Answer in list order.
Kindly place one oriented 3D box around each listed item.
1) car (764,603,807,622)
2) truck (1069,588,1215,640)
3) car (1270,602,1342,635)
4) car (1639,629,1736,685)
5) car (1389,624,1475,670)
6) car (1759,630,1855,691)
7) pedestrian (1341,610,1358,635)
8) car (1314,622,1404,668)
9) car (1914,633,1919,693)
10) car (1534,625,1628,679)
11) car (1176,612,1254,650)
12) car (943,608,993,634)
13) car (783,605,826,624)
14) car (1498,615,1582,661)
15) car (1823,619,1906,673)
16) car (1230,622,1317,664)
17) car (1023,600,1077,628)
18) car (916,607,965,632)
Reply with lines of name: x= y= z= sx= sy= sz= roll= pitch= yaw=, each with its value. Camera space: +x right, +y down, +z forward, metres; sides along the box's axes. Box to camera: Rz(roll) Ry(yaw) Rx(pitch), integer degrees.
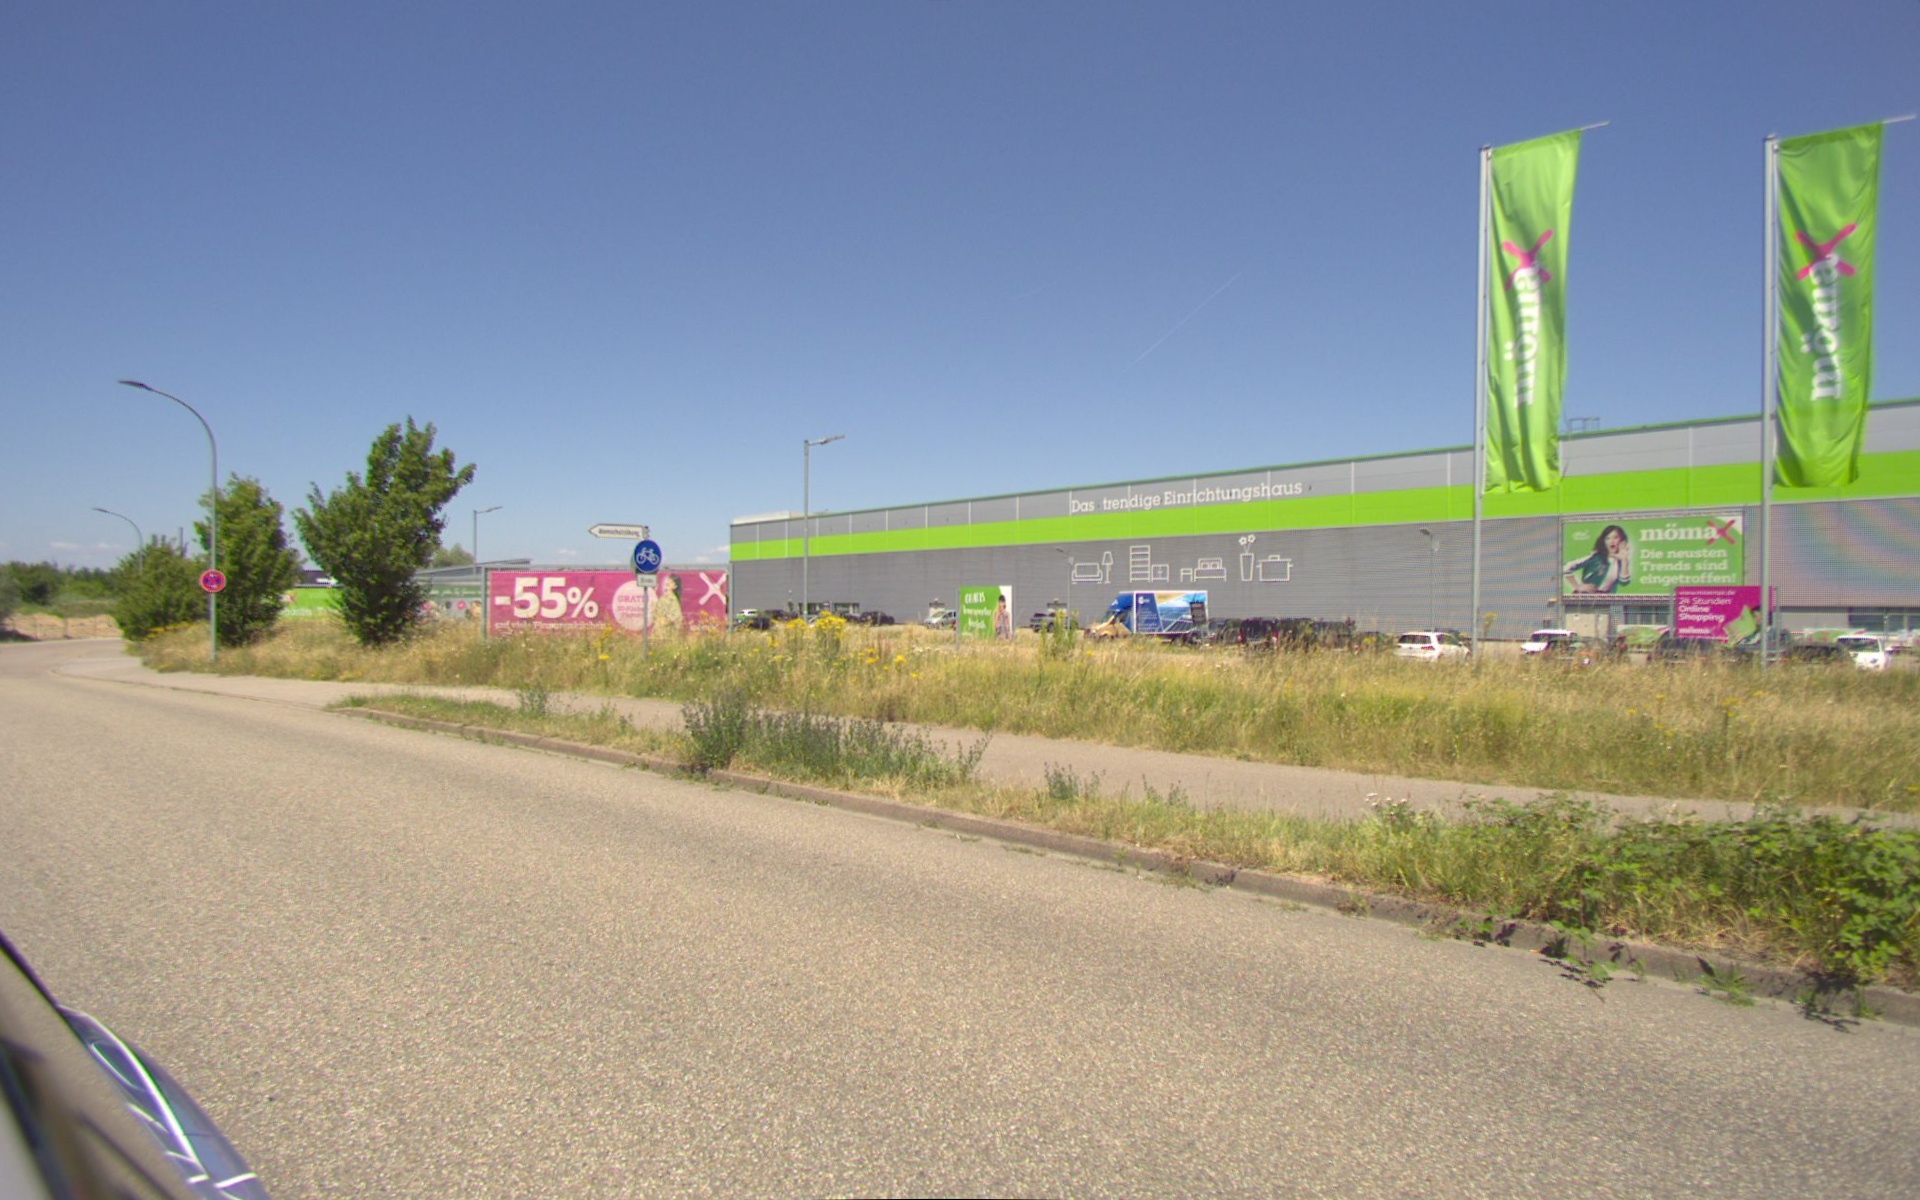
car: x=-18.072 y=1.231 z=104.865 sx=3.941 sy=1.752 sz=2.002 roll=-2 pitch=3 yaw=-44
truck: x=10.406 y=0.764 z=58.120 sx=7.650 sy=2.704 sz=2.969 roll=-1 pitch=0 yaw=-11
car: x=21.055 y=1.105 z=61.542 sx=3.931 sy=1.785 sz=2.006 roll=-2 pitch=1 yaw=-28
car: x=23.507 y=1.793 z=32.641 sx=2.001 sy=1.441 sz=3.943 roll=0 pitch=2 yaw=44
car: x=18.259 y=1.780 z=39.051 sx=1.847 sy=1.448 sz=3.943 roll=0 pitch=2 yaw=44
car: x=25.894 y=1.785 z=30.898 sx=2.001 sy=1.455 sz=3.943 roll=0 pitch=2 yaw=44
pedestrian: x=23.179 y=1.337 z=60.292 sx=0.766 sy=1.462 sz=0.631 roll=0 pitch=2 yaw=42
car: x=16.072 y=1.776 z=40.693 sx=2.001 sy=1.524 sz=3.943 roll=0 pitch=2 yaw=44
car: x=28.438 y=1.776 z=28.680 sx=2.001 sy=1.420 sz=3.943 roll=0 pitch=2 yaw=44
car: x=21.649 y=1.743 z=35.216 sx=2.001 sy=1.524 sz=3.943 roll=0 pitch=2 yaw=44
car: x=13.704 y=1.610 z=54.287 sx=4.206 sy=1.774 sz=2.003 roll=-2 pitch=1 yaw=-41
car: x=0.723 y=1.785 z=86.251 sx=3.937 sy=2.028 sz=1.914 roll=-2 pitch=2 yaw=-39
car: x=-15.719 y=1.447 z=102.509 sx=3.941 sy=1.752 sz=2.002 roll=-2 pitch=3 yaw=-44
car: x=23.043 y=1.464 z=40.172 sx=2.001 sy=1.524 sz=3.943 roll=0 pitch=2 yaw=44
car: x=31.154 y=1.535 z=34.820 sx=2.001 sy=1.524 sz=3.943 roll=0 pitch=2 yaw=44
car: x=13.396 y=1.771 z=43.158 sx=2.001 sy=1.478 sz=3.943 roll=0 pitch=2 yaw=44
car: x=7.050 y=1.087 z=79.258 sx=3.937 sy=2.028 sz=2.004 roll=-2 pitch=2 yaw=-39
car: x=-1.701 y=1.683 z=88.414 sx=3.937 sy=2.028 sz=1.914 roll=-2 pitch=2 yaw=-39
